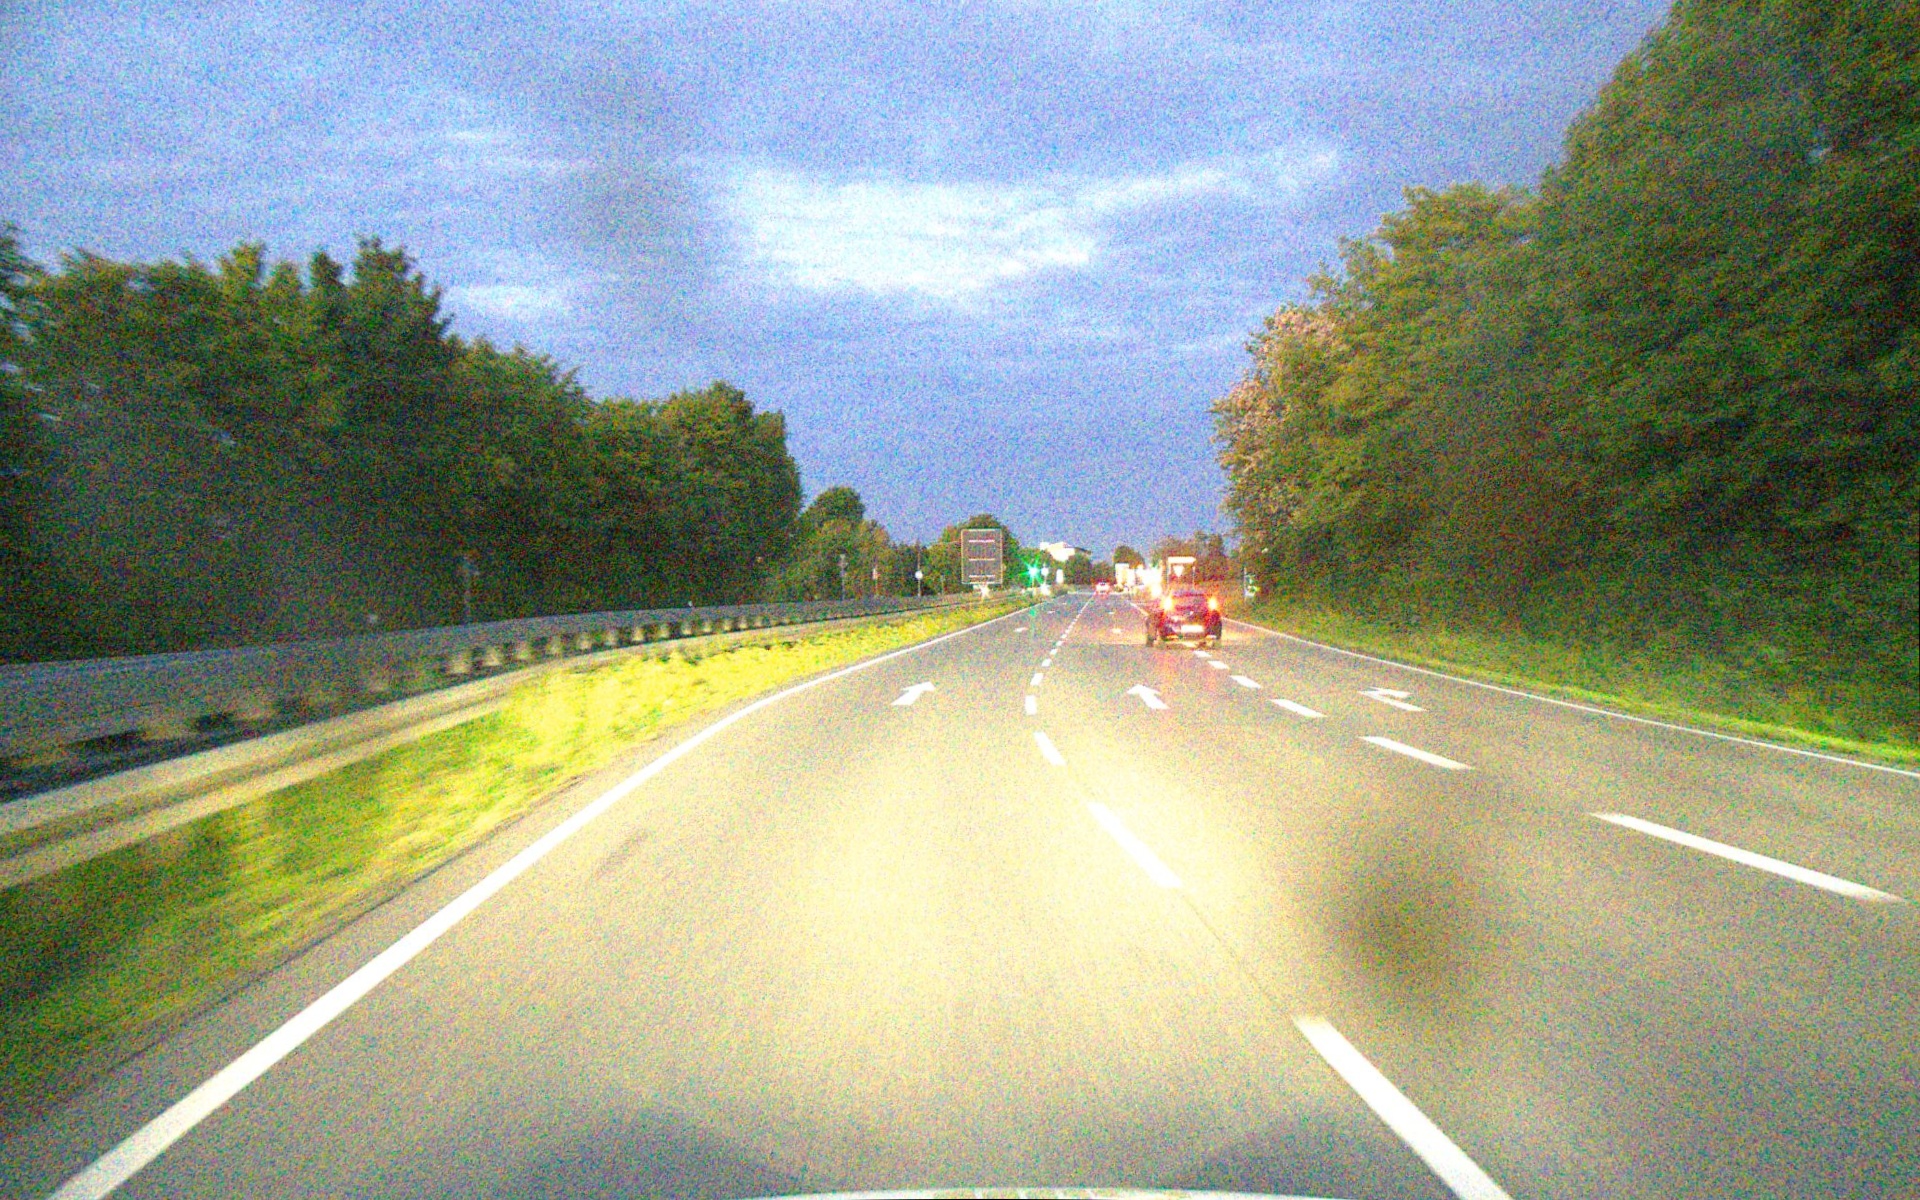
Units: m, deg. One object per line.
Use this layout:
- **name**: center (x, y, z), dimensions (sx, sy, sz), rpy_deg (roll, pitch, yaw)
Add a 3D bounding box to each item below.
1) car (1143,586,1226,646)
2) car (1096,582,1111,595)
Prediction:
- **car**: center (5.839, 0.379, 43.453), dimensions (1.716, 1.478, 4.434), rpy_deg (0, 1, 2)
- **car**: center (20.728, -1.668, 238.688), dimensions (1.952, 1.780, 4.002), rpy_deg (-4, -1, 3)
